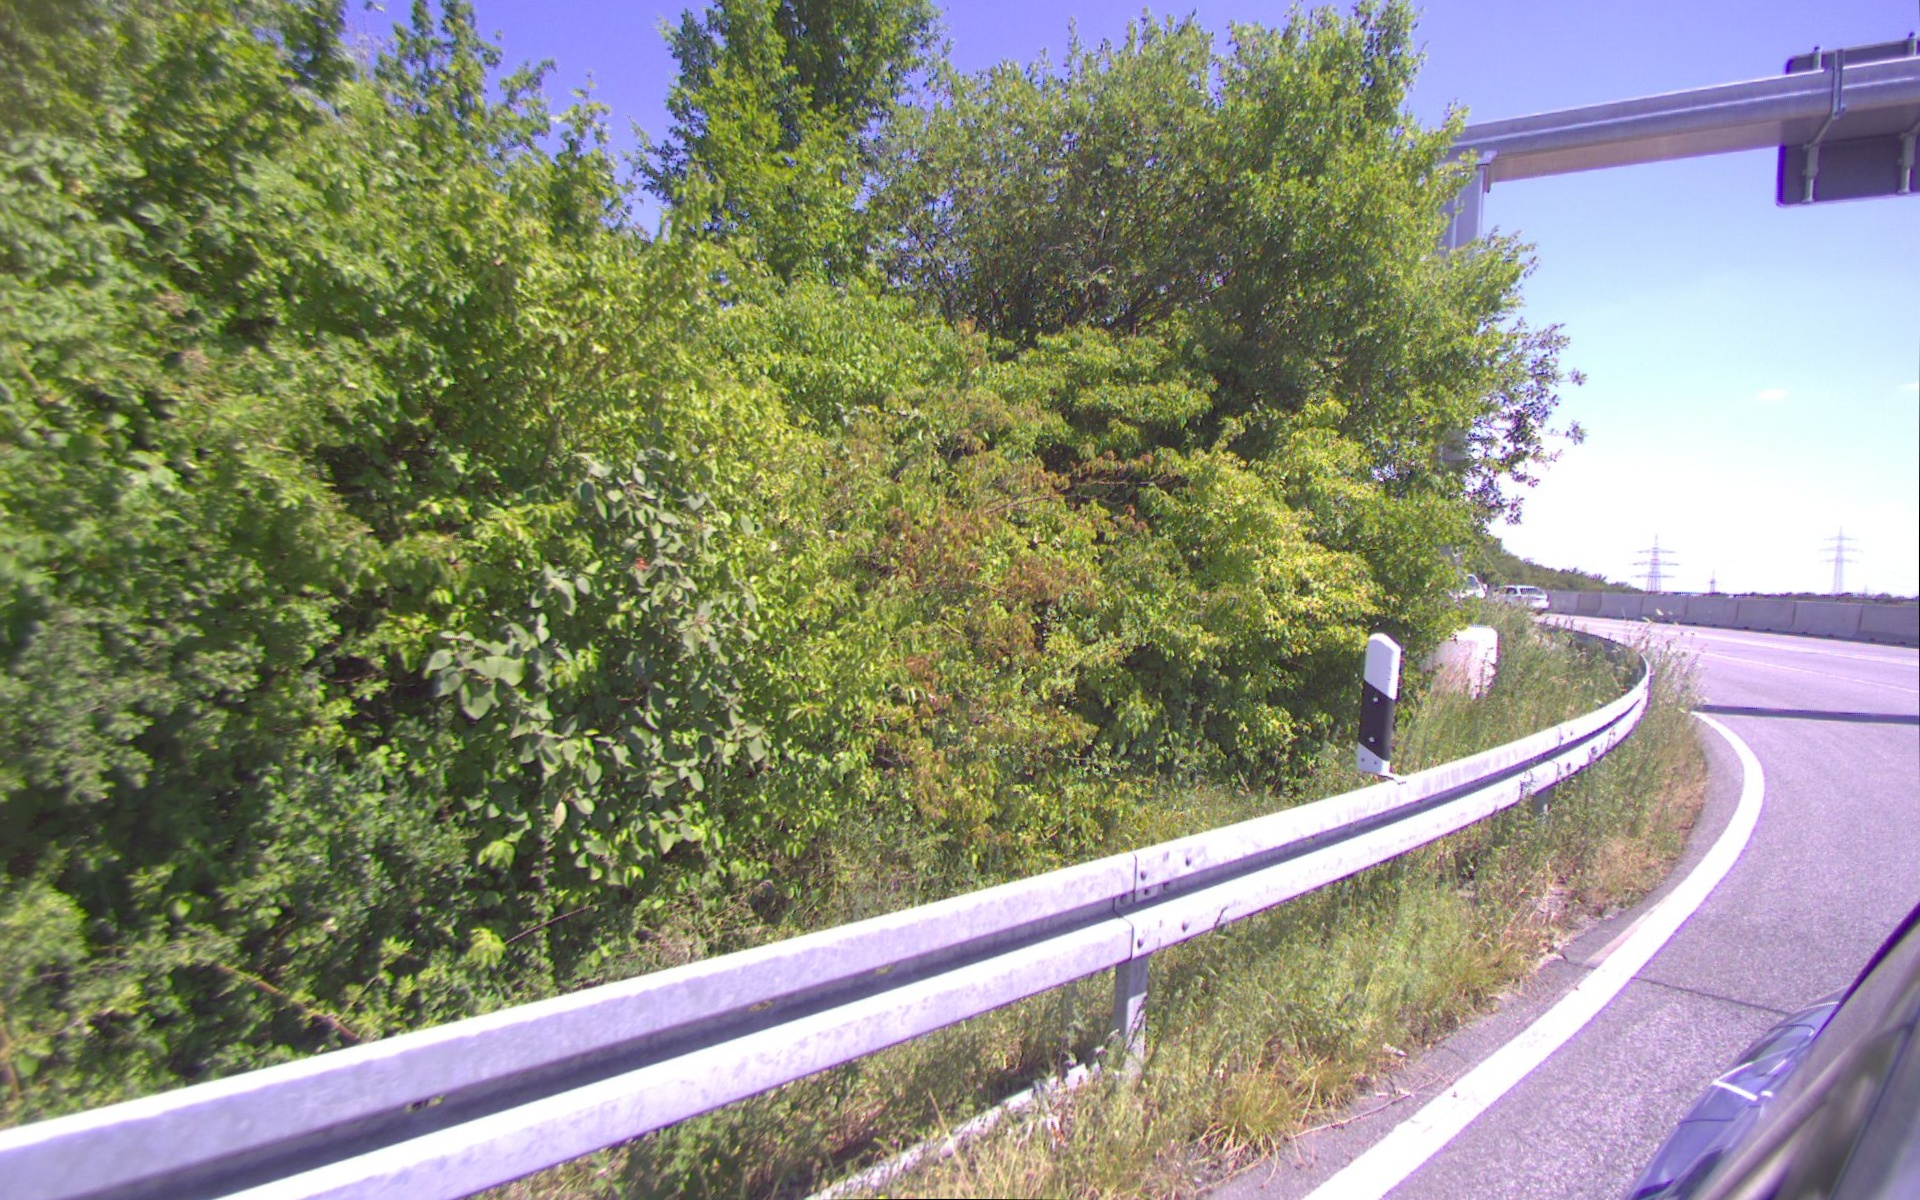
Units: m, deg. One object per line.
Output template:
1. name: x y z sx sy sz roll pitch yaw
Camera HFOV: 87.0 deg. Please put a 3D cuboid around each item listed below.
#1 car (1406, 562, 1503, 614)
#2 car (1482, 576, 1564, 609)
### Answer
1. car: 21.618 -0.546 44.520 1.997 2.110 5.861 1 1 7
2. car: 28.742 -0.437 51.861 1.760 1.513 4.549 2 2 2
